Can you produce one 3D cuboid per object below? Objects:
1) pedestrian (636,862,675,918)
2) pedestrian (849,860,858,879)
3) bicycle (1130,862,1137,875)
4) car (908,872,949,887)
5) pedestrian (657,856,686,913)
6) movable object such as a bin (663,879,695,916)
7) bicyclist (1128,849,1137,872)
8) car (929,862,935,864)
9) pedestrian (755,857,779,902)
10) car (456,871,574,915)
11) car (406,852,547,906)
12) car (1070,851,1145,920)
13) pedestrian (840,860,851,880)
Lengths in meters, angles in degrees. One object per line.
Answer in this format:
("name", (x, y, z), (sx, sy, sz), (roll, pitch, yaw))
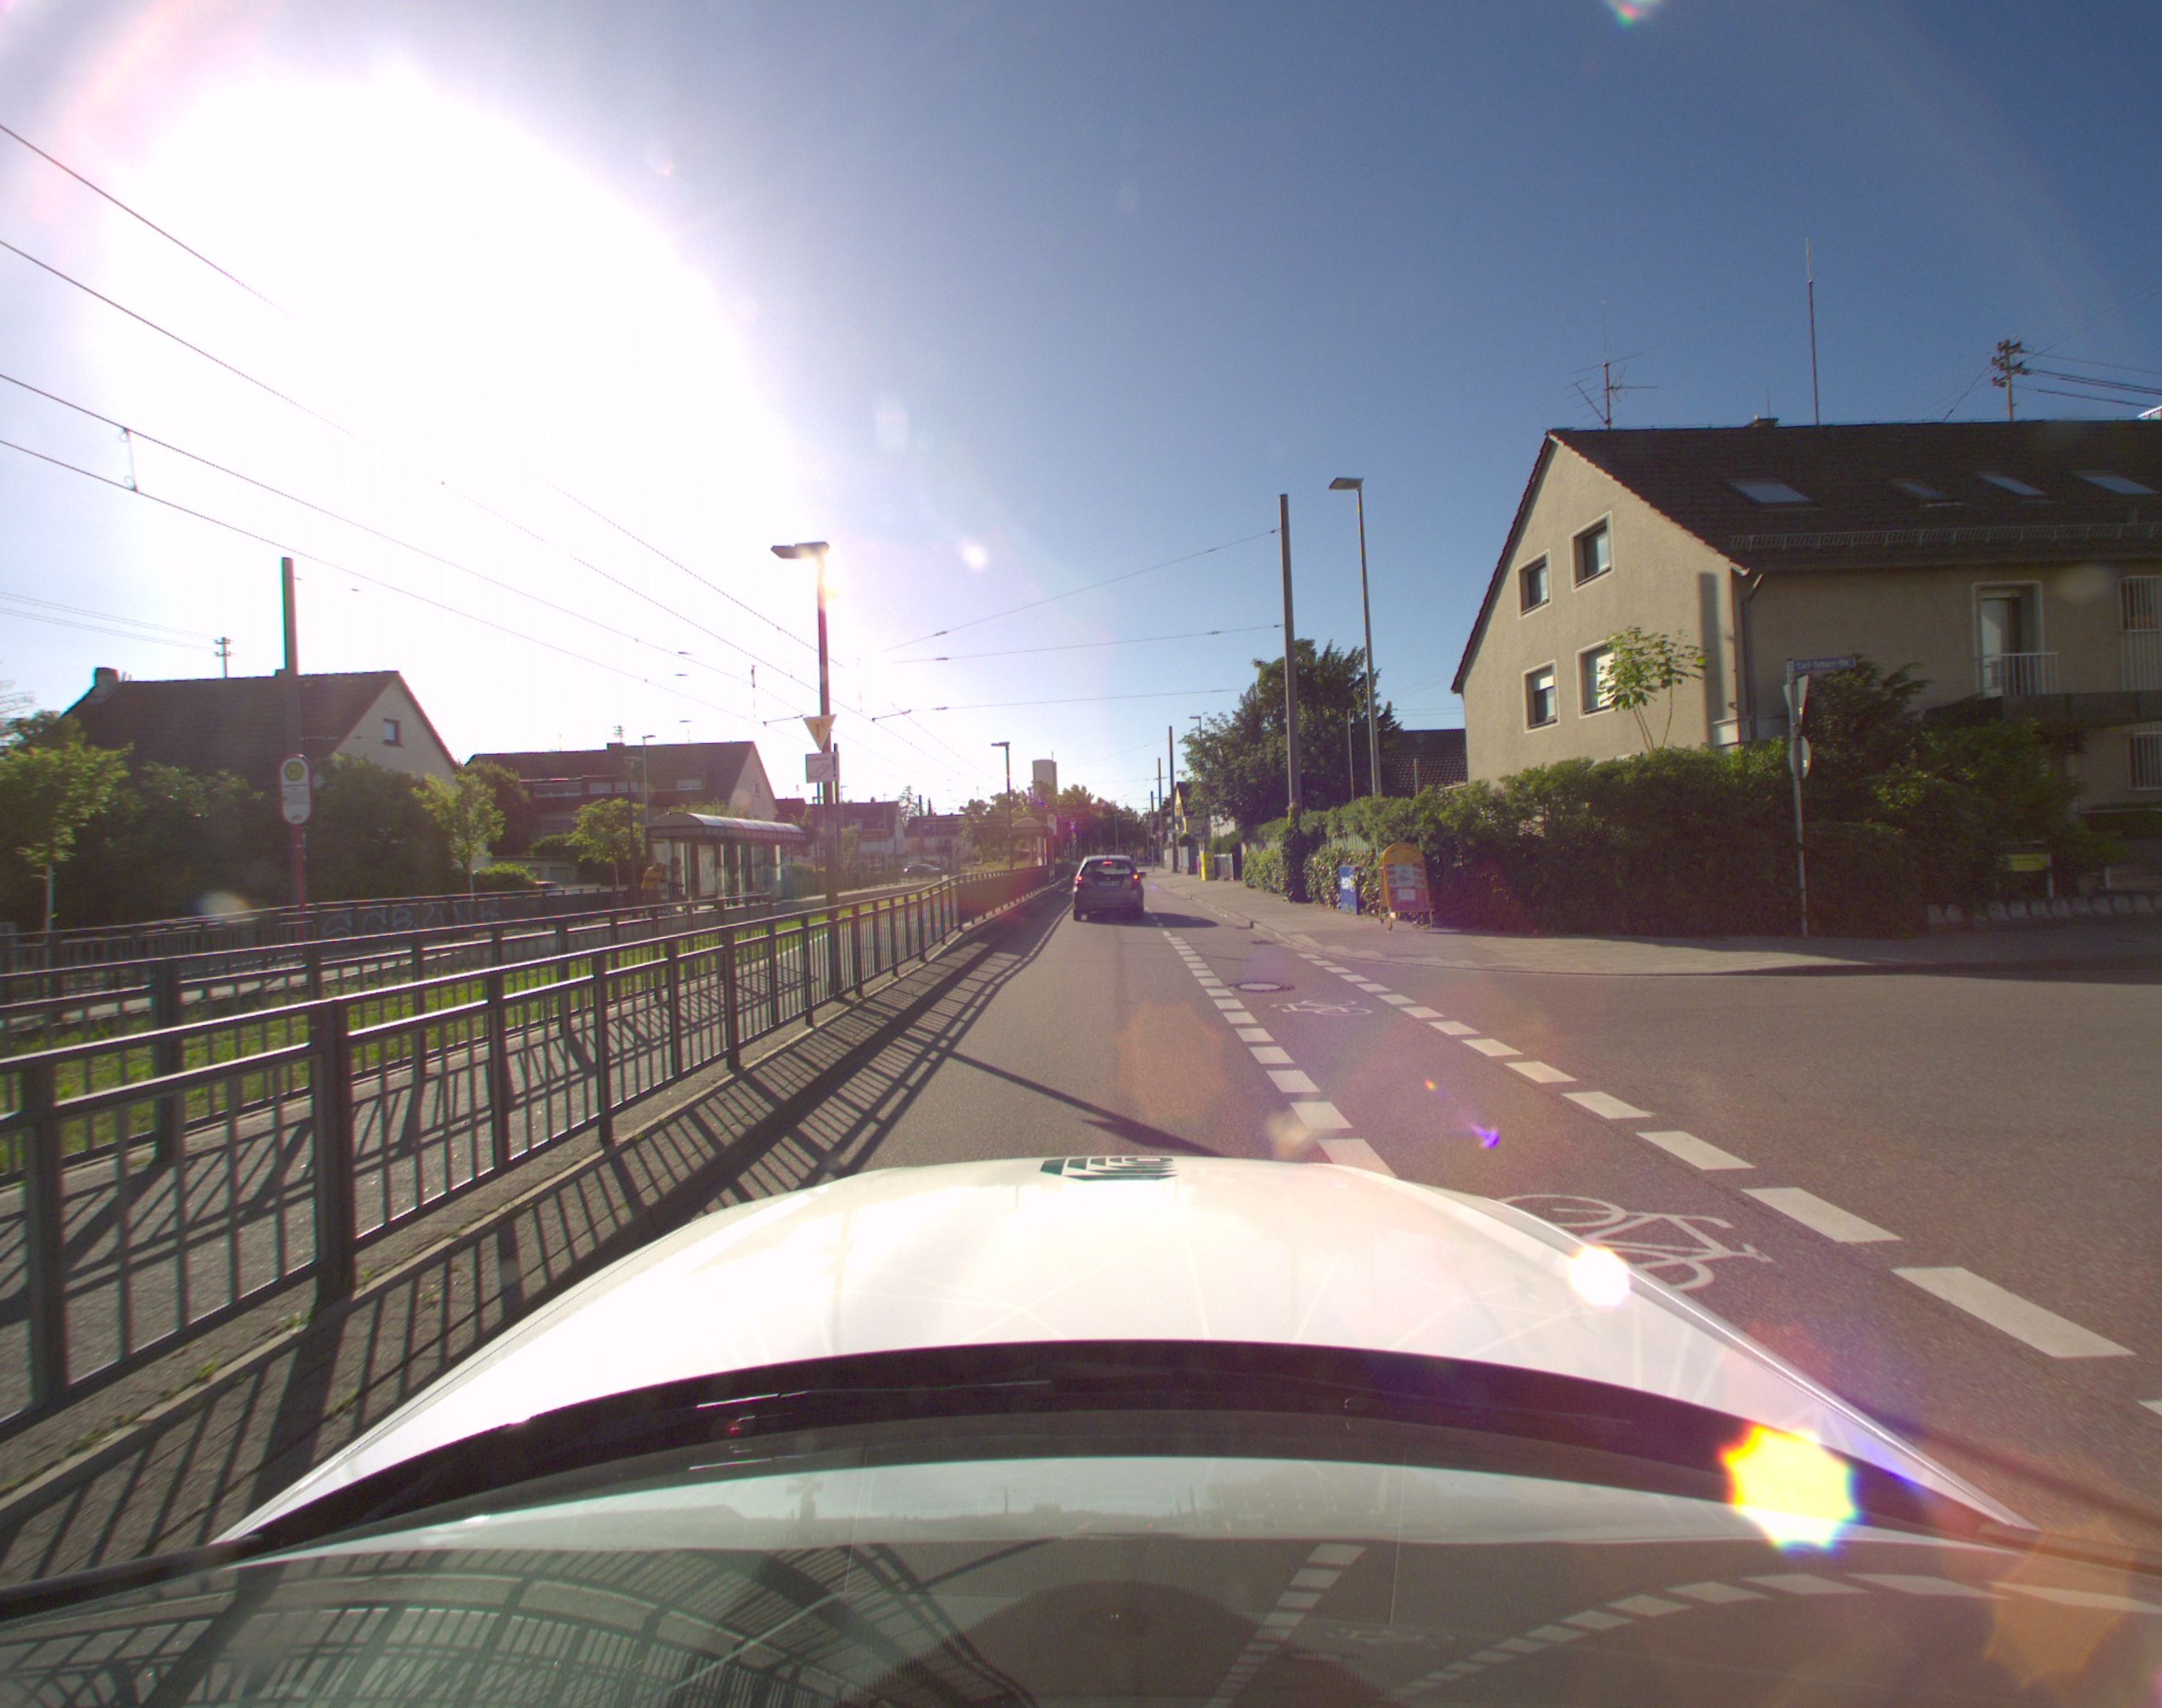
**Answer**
("pedestrian", (-12.139, 1.006, 23.230), (0.673, 1.535, 0.748), (-2, 0, -3))
("pedestrian", (-21.116, 1.471, 75.693), (0.591, 1.732, 0.689), (-3, 0, 0))
("bicycle", (3.956, 1.084, 61.128), (0.473, 0.961, 1.658), (-1, -1, 2))
("car", (-15.873, 2.672, 84.698), (3.949, 1.529, 1.819), (-1, -1, 29))
("pedestrian", (-12.420, 0.914, 24.723), (0.518, 1.708, 0.580), (-2, 0, -3))
("movable object such as a bin", (-11.514, 1.233, 23.340), (0.545, 0.988, 0.741), (-2, 0, -2))
("bicyclist", (3.849, 0.465, 60.931), (0.596, 1.701, 0.684), (-1, -1, 2))
("car", (-20.985, 1.279, 114.611), (0.695, 0.336, 0.330), (-1, -1, 6))
("pedestrian", (-12.276, 1.001, 31.859), (0.498, 1.696, 0.771), (-5, 0, 2))
("car", (-24.677, 1.682, 35.616), (3.839, 1.806, 1.796), (-1, -1, -6))
("car", (-23.652, 0.949, 32.001), (3.982, 1.970, 1.929), (-1, -1, -6))
("car", (0.636, 0.729, 20.263), (1.664, 1.535, 3.487), (-1, 0, 1))
("pedestrian", (-21.433, 1.461, 74.055), (0.726, 1.762, 0.772), (-3, 0, 0))
